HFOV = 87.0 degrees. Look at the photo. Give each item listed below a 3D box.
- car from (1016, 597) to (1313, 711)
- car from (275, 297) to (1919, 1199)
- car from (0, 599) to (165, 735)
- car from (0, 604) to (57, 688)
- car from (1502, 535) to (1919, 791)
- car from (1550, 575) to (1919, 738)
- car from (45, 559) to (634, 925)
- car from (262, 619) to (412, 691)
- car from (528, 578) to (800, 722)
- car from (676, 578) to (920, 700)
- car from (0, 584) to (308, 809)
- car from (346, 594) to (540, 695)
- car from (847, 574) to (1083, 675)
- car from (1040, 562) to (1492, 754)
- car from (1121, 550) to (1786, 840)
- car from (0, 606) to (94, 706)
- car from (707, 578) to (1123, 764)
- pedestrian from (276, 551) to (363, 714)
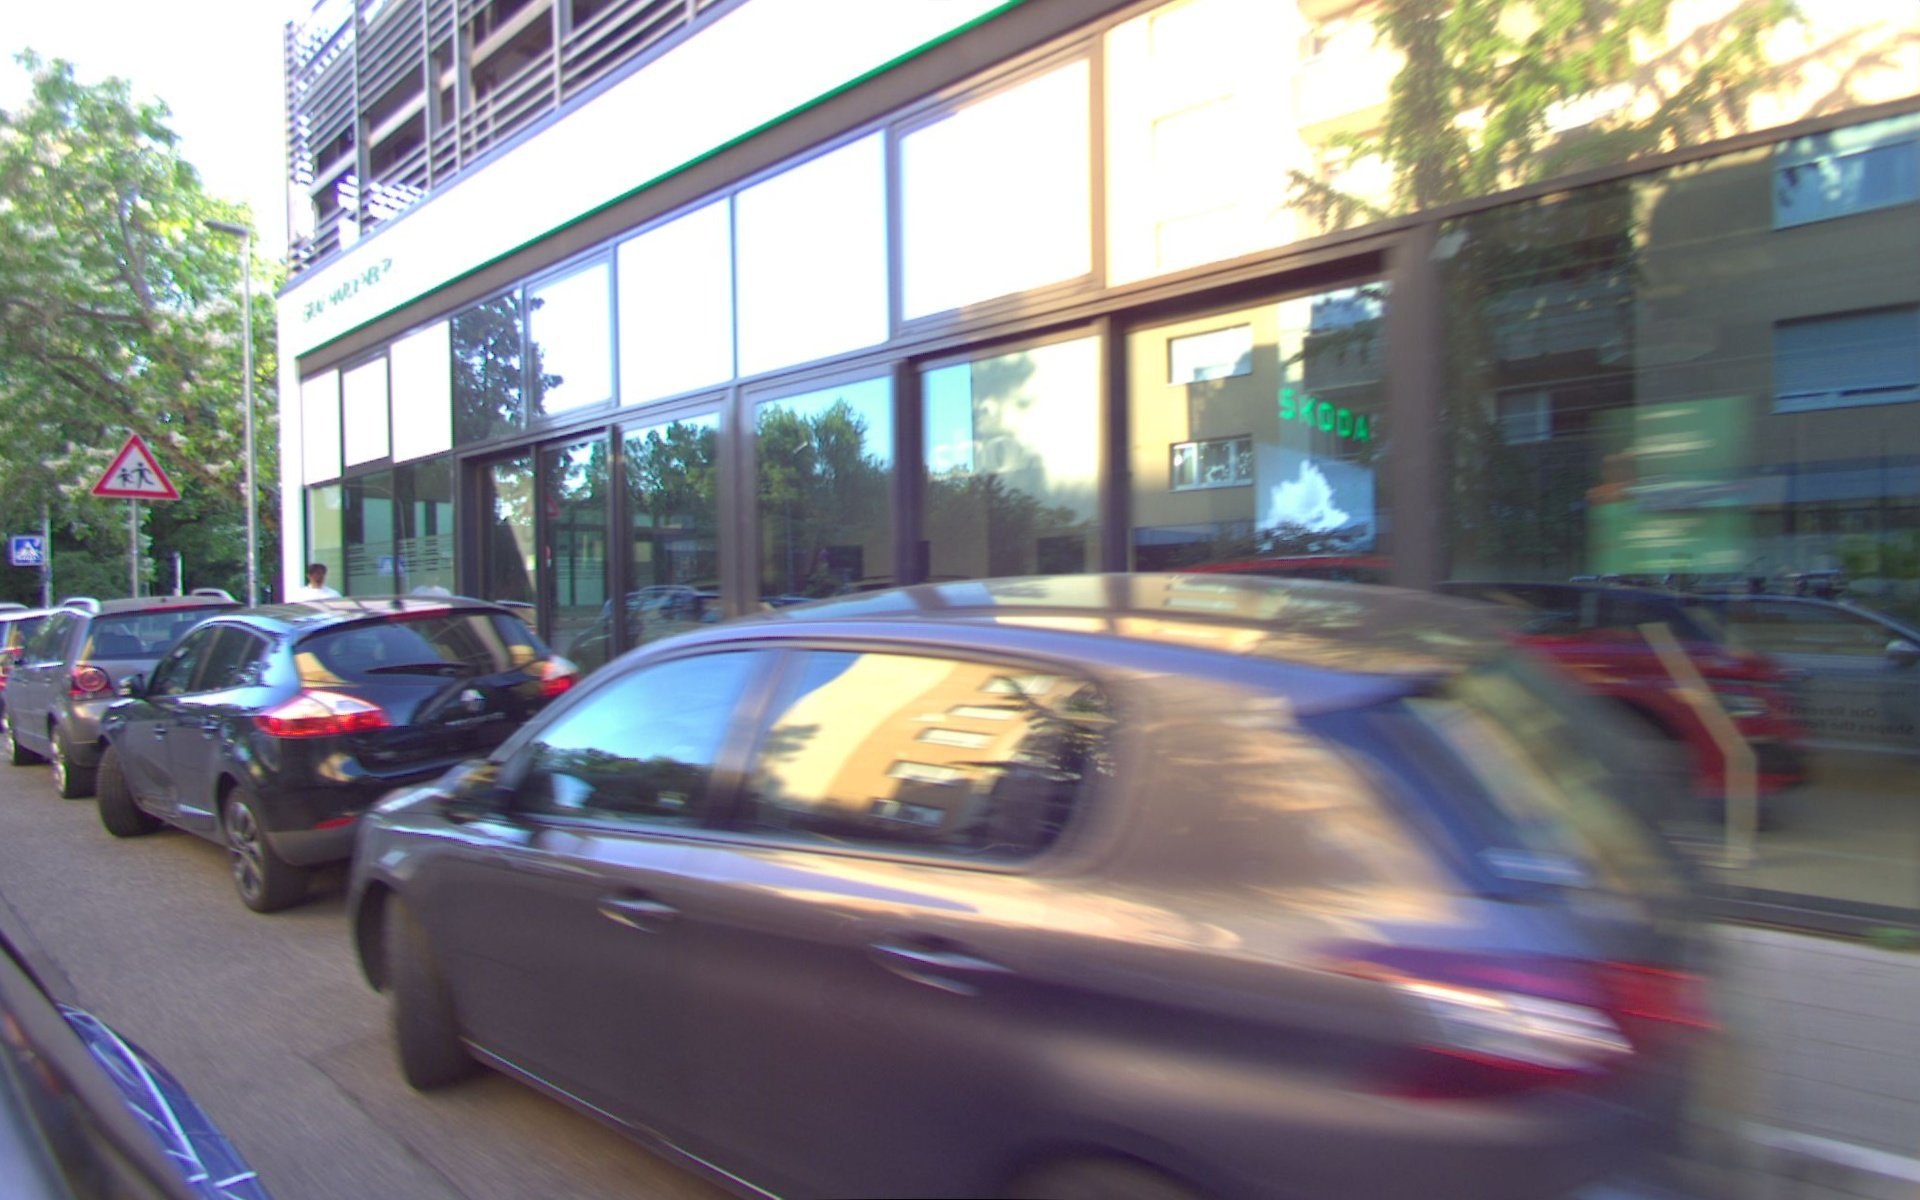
[{"bbox_3d":[2.898,0.728,14.798,3.917,1.445,1.680,-2,0,40],"label":"car"},{"bbox_3d":[-0.167,0.627,2.818,4.203,1.609,1.917,-2,-1,42],"label":"car"},{"bbox_3d":[-12.259,0.823,13.422,3.920,1.421,1.647,-2,5,37],"label":"car"},{"bbox_3d":[-19.792,0.959,20.230,3.875,1.525,1.648,-2,3,35],"label":"car"},{"bbox_3d":[6.690,0.425,7.844,4.129,1.738,1.680,-1,0,40],"label":"car"},{"bbox_3d":[8.360,0.514,10.224,3.917,1.445,1.680,-2,0,40],"label":"car"},{"bbox_3d":[-3.936,0.616,6.157,4.002,1.412,1.712,-2,5,39],"label":"car"},{"bbox_3d":[-12.754,1.081,20.669,3.448,1.303,1.577,-2,0,39],"label":"car"},{"bbox_3d":[-4.034,0.604,13.499,3.873,1.662,1.577,-2,0,40],"label":"car"},{"bbox_3d":[-2.572,0.561,15.658,3.735,1.671,1.680,-2,0,40],"label":"car"},{"bbox_3d":[-7.661,0.740,9.326,3.882,1.508,1.645,-1,5,41],"label":"car"},{"bbox_3d":[-8.926,0.720,17.352,3.873,1.534,1.577,-2,0,40],"label":"car"},{"bbox_3d":[0.017,0.409,17.547,3.917,1.573,1.680,-2,0,40],"label":"car"},{"bbox_3d":[3.112,0.543,10.849,4.322,1.671,1.680,-2,0,40],"label":"car"},{"bbox_3d":[3.326,0.530,7.269,3.991,1.526,1.680,-2,0,41],"label":"car"},{"bbox_3d":[-16.381,0.941,17.216,4.409,1.426,1.646,-2,5,39],"label":"car"},{"bbox_3d":[-0.600,0.617,10.289,4.188,1.526,1.680,-2,0,40],"label":"car"},{"bbox_3d":[-7.765,0.383,12.266,0.620,1.892,0.713,-2,-1,41],"label":"pedestrian"}]
